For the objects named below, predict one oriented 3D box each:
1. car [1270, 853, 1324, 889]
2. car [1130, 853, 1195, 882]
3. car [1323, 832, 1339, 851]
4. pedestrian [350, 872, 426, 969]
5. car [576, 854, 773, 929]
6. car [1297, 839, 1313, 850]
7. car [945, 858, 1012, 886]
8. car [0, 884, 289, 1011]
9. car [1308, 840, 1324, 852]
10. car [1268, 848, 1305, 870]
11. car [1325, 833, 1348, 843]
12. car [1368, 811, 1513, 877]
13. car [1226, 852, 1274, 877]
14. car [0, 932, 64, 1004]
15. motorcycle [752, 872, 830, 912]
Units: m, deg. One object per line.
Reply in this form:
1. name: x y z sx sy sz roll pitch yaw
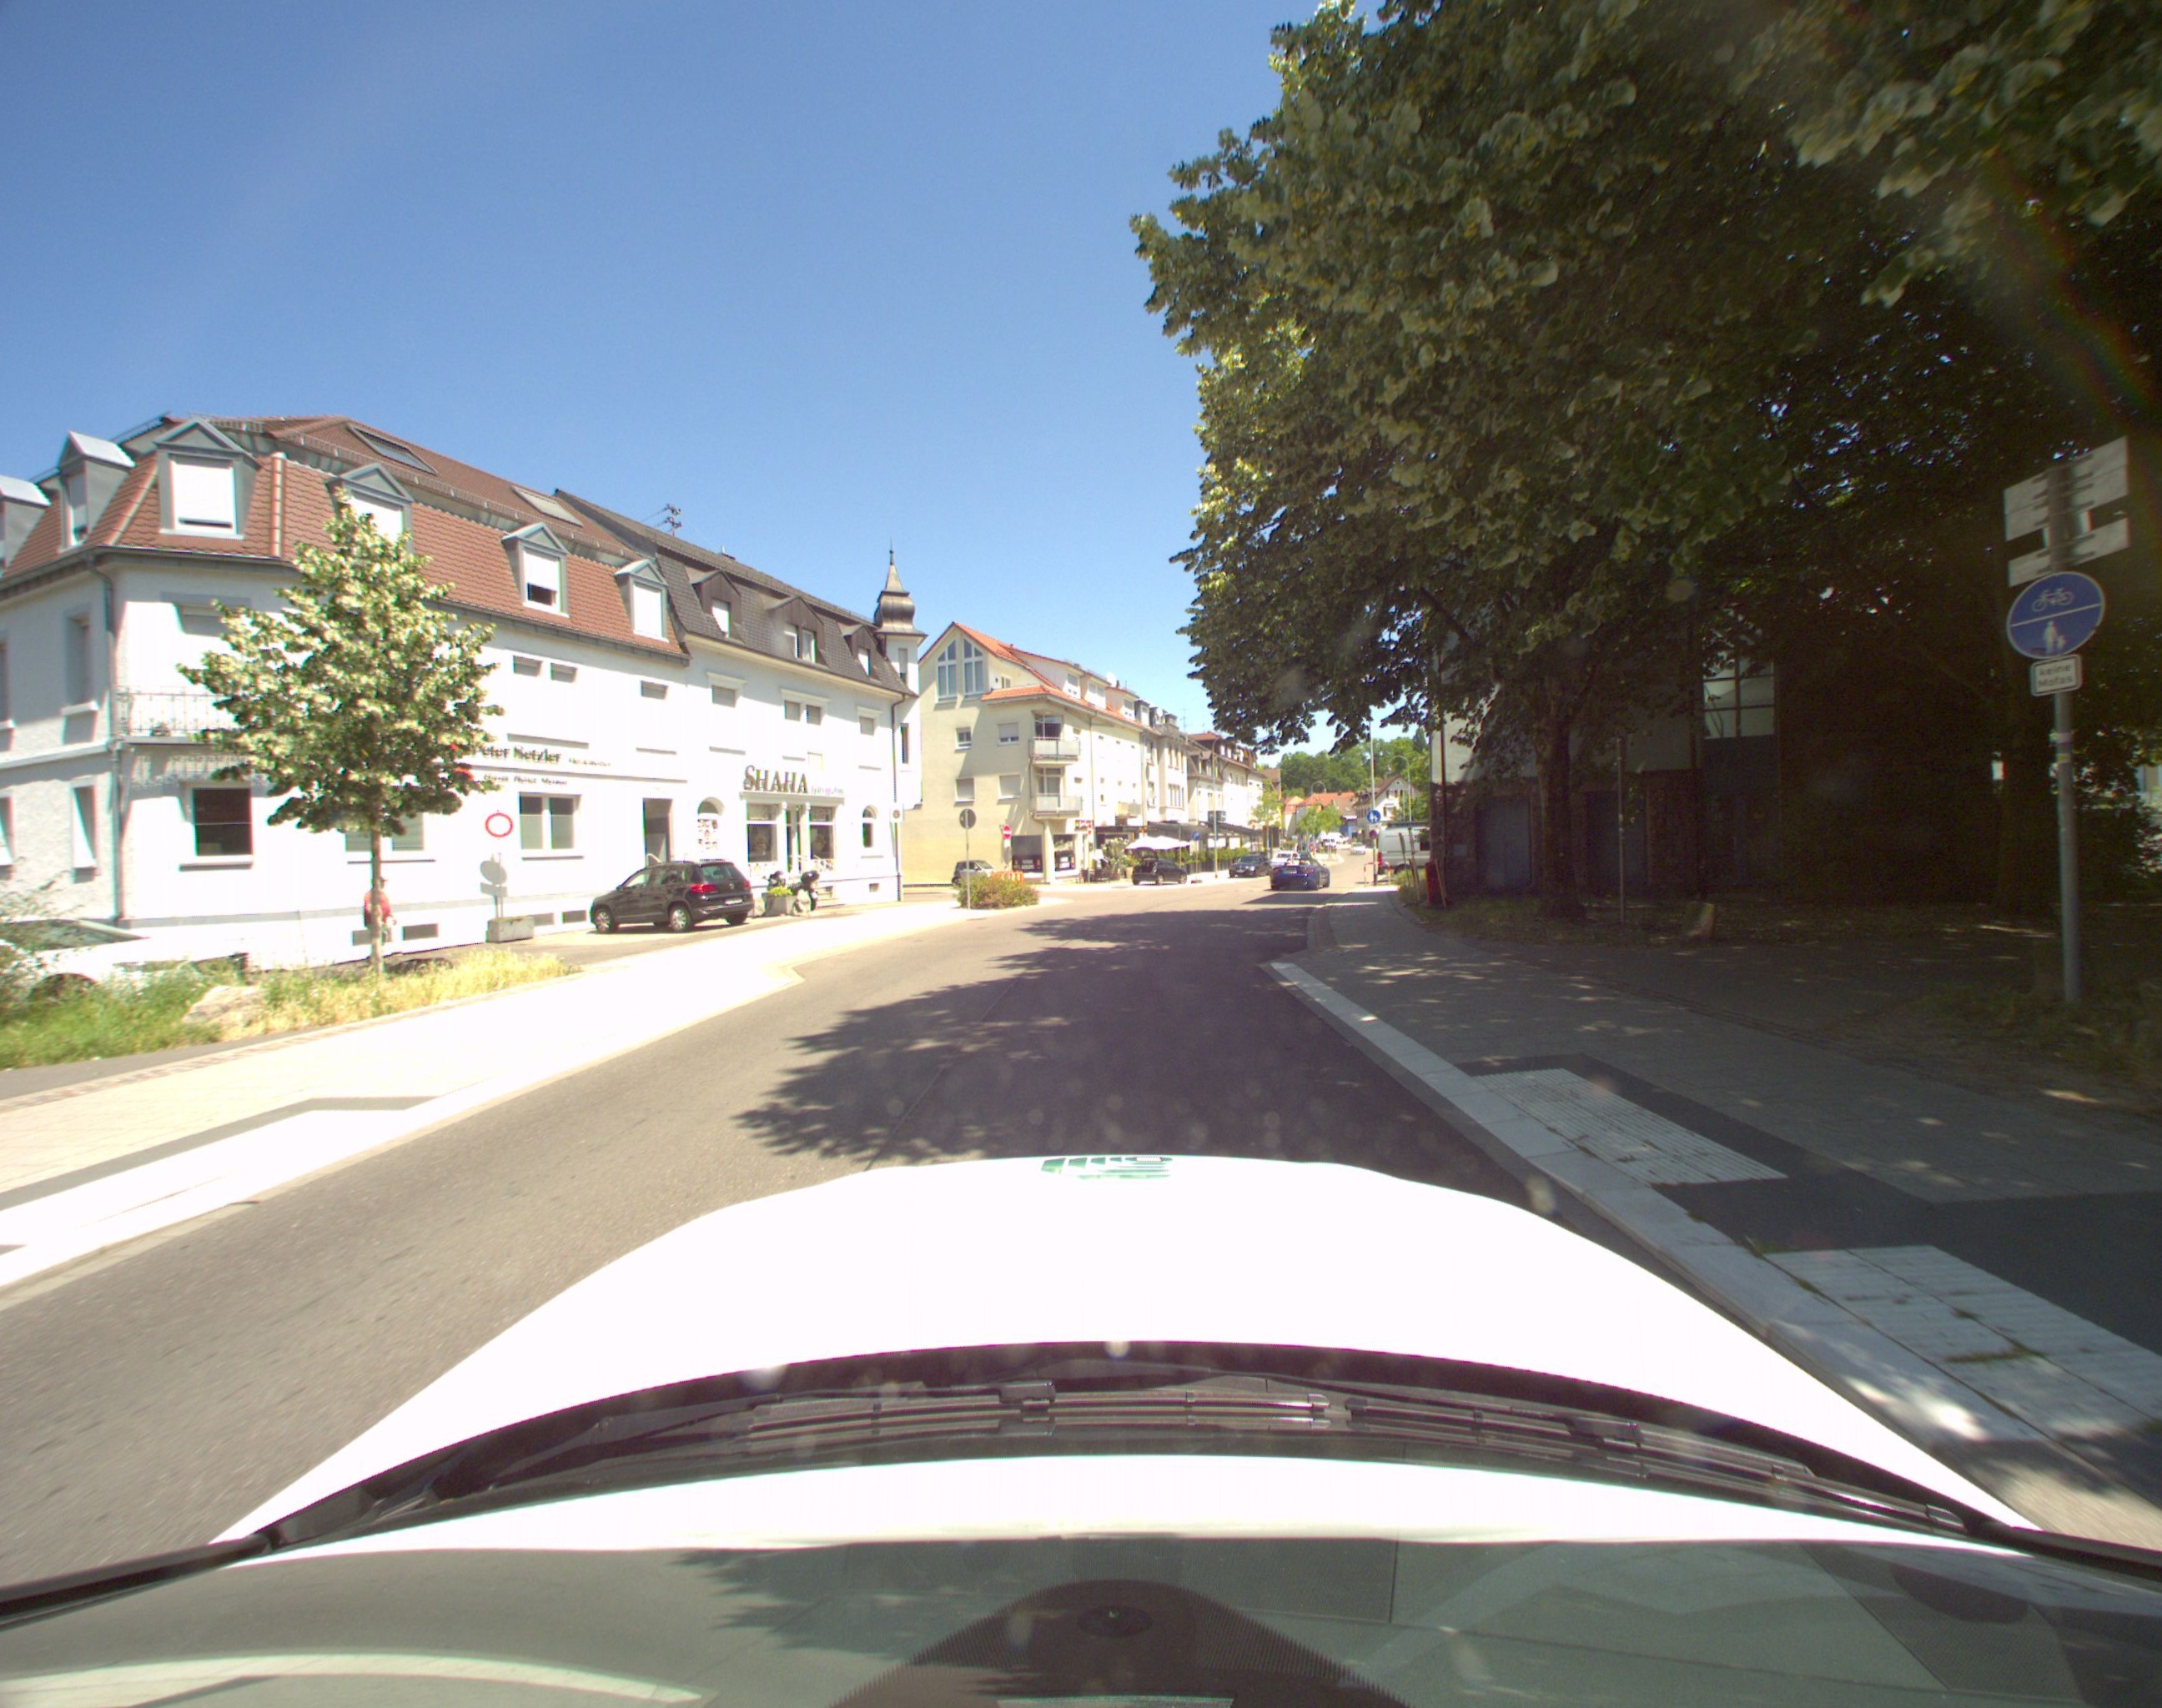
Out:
1. car: 9.166 0.677 34.340 1.855 1.342 4.618 -1 1 19
2. car: 4.508 0.711 44.621 1.696 1.460 4.156 1 1 35
3. car: 34.687 -1.742 113.263 1.853 2.400 4.837 -2 0 14
4. pedestrian: -13.228 1.253 15.557 0.734 1.754 0.737 -4 -1 -6
5. car: -9.957 0.902 19.976 4.144 1.662 1.981 -2 0 21
6. car: 37.114 -1.592 134.859 1.983 1.692 4.007 -1 1 6
7. car: -5.769 1.015 45.867 3.234 1.458 1.701 -2 1 21
8. car: -13.602 1.190 10.342 4.696 1.356 1.992 -2 0 -12
9. car: 35.316 -1.145 122.580 1.980 1.738 4.014 -2 0 12
10. car: 15.212 0.332 60.147 1.629 1.479 3.966 0 2 31
11. car: 55.369 -3.417 176.460 4.270 2.014 1.987 -1 -2 -19
12. car: 16.560 -0.420 37.662 5.885 2.732 2.209 -2 0 25
13. car: 11.144 0.643 53.511 1.817 1.429 4.812 0 1 28
14. car: -27.794 2.941 19.549 1.897 1.648 3.990 -2 0 -7
15. motorcycle: -9.245 1.215 25.950 2.373 1.217 0.838 -2 -1 23
